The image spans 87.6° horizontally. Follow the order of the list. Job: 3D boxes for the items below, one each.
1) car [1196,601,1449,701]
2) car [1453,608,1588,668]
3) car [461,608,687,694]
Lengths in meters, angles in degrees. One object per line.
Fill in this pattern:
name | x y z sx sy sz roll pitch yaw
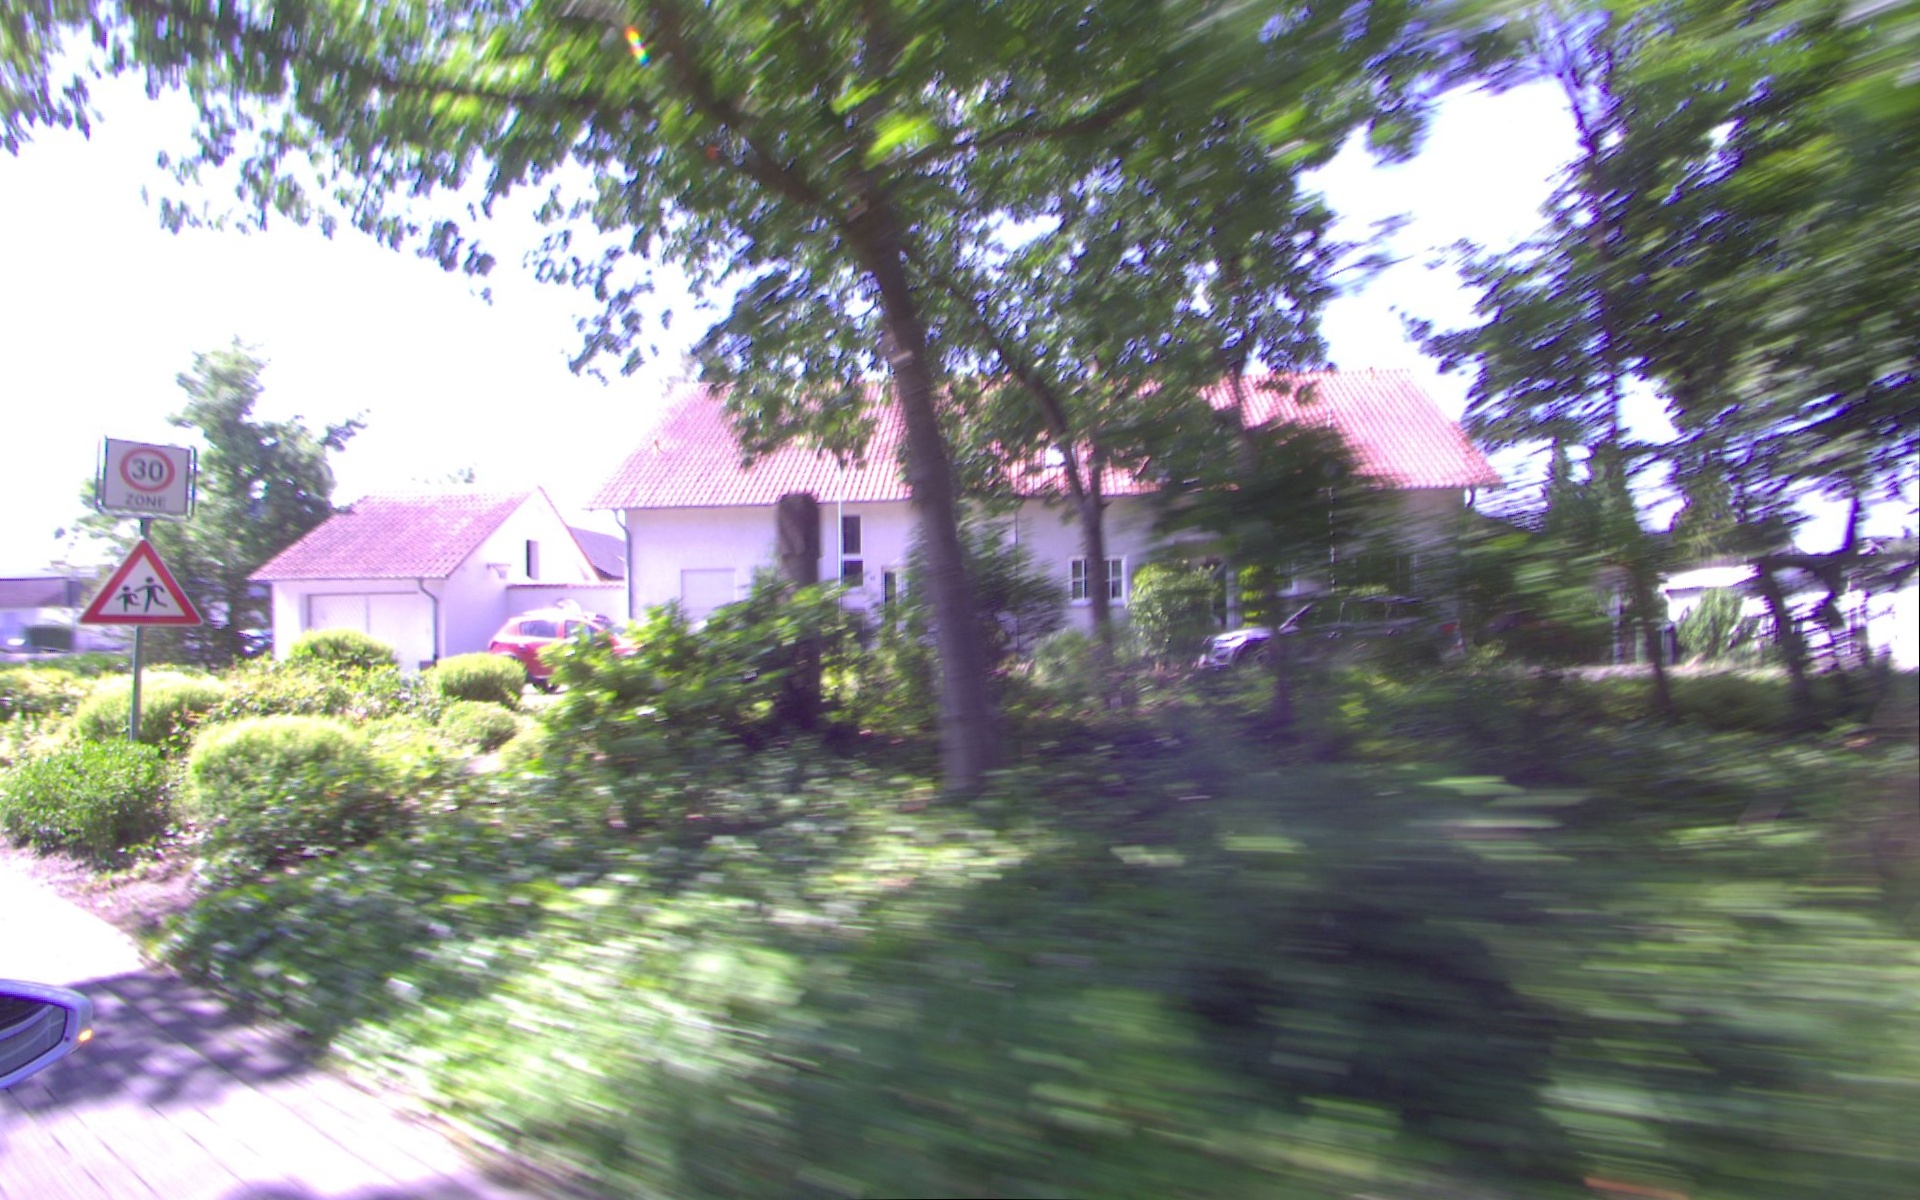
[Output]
car | 6.593 0.934 18.547 4.062 1.727 1.667 -1 -1 2
car | 14.244 0.956 25.668 1.652 1.403 3.694 -1 -1 6
car | -7.732 1.030 20.239 3.949 1.622 1.666 -1 -1 7
